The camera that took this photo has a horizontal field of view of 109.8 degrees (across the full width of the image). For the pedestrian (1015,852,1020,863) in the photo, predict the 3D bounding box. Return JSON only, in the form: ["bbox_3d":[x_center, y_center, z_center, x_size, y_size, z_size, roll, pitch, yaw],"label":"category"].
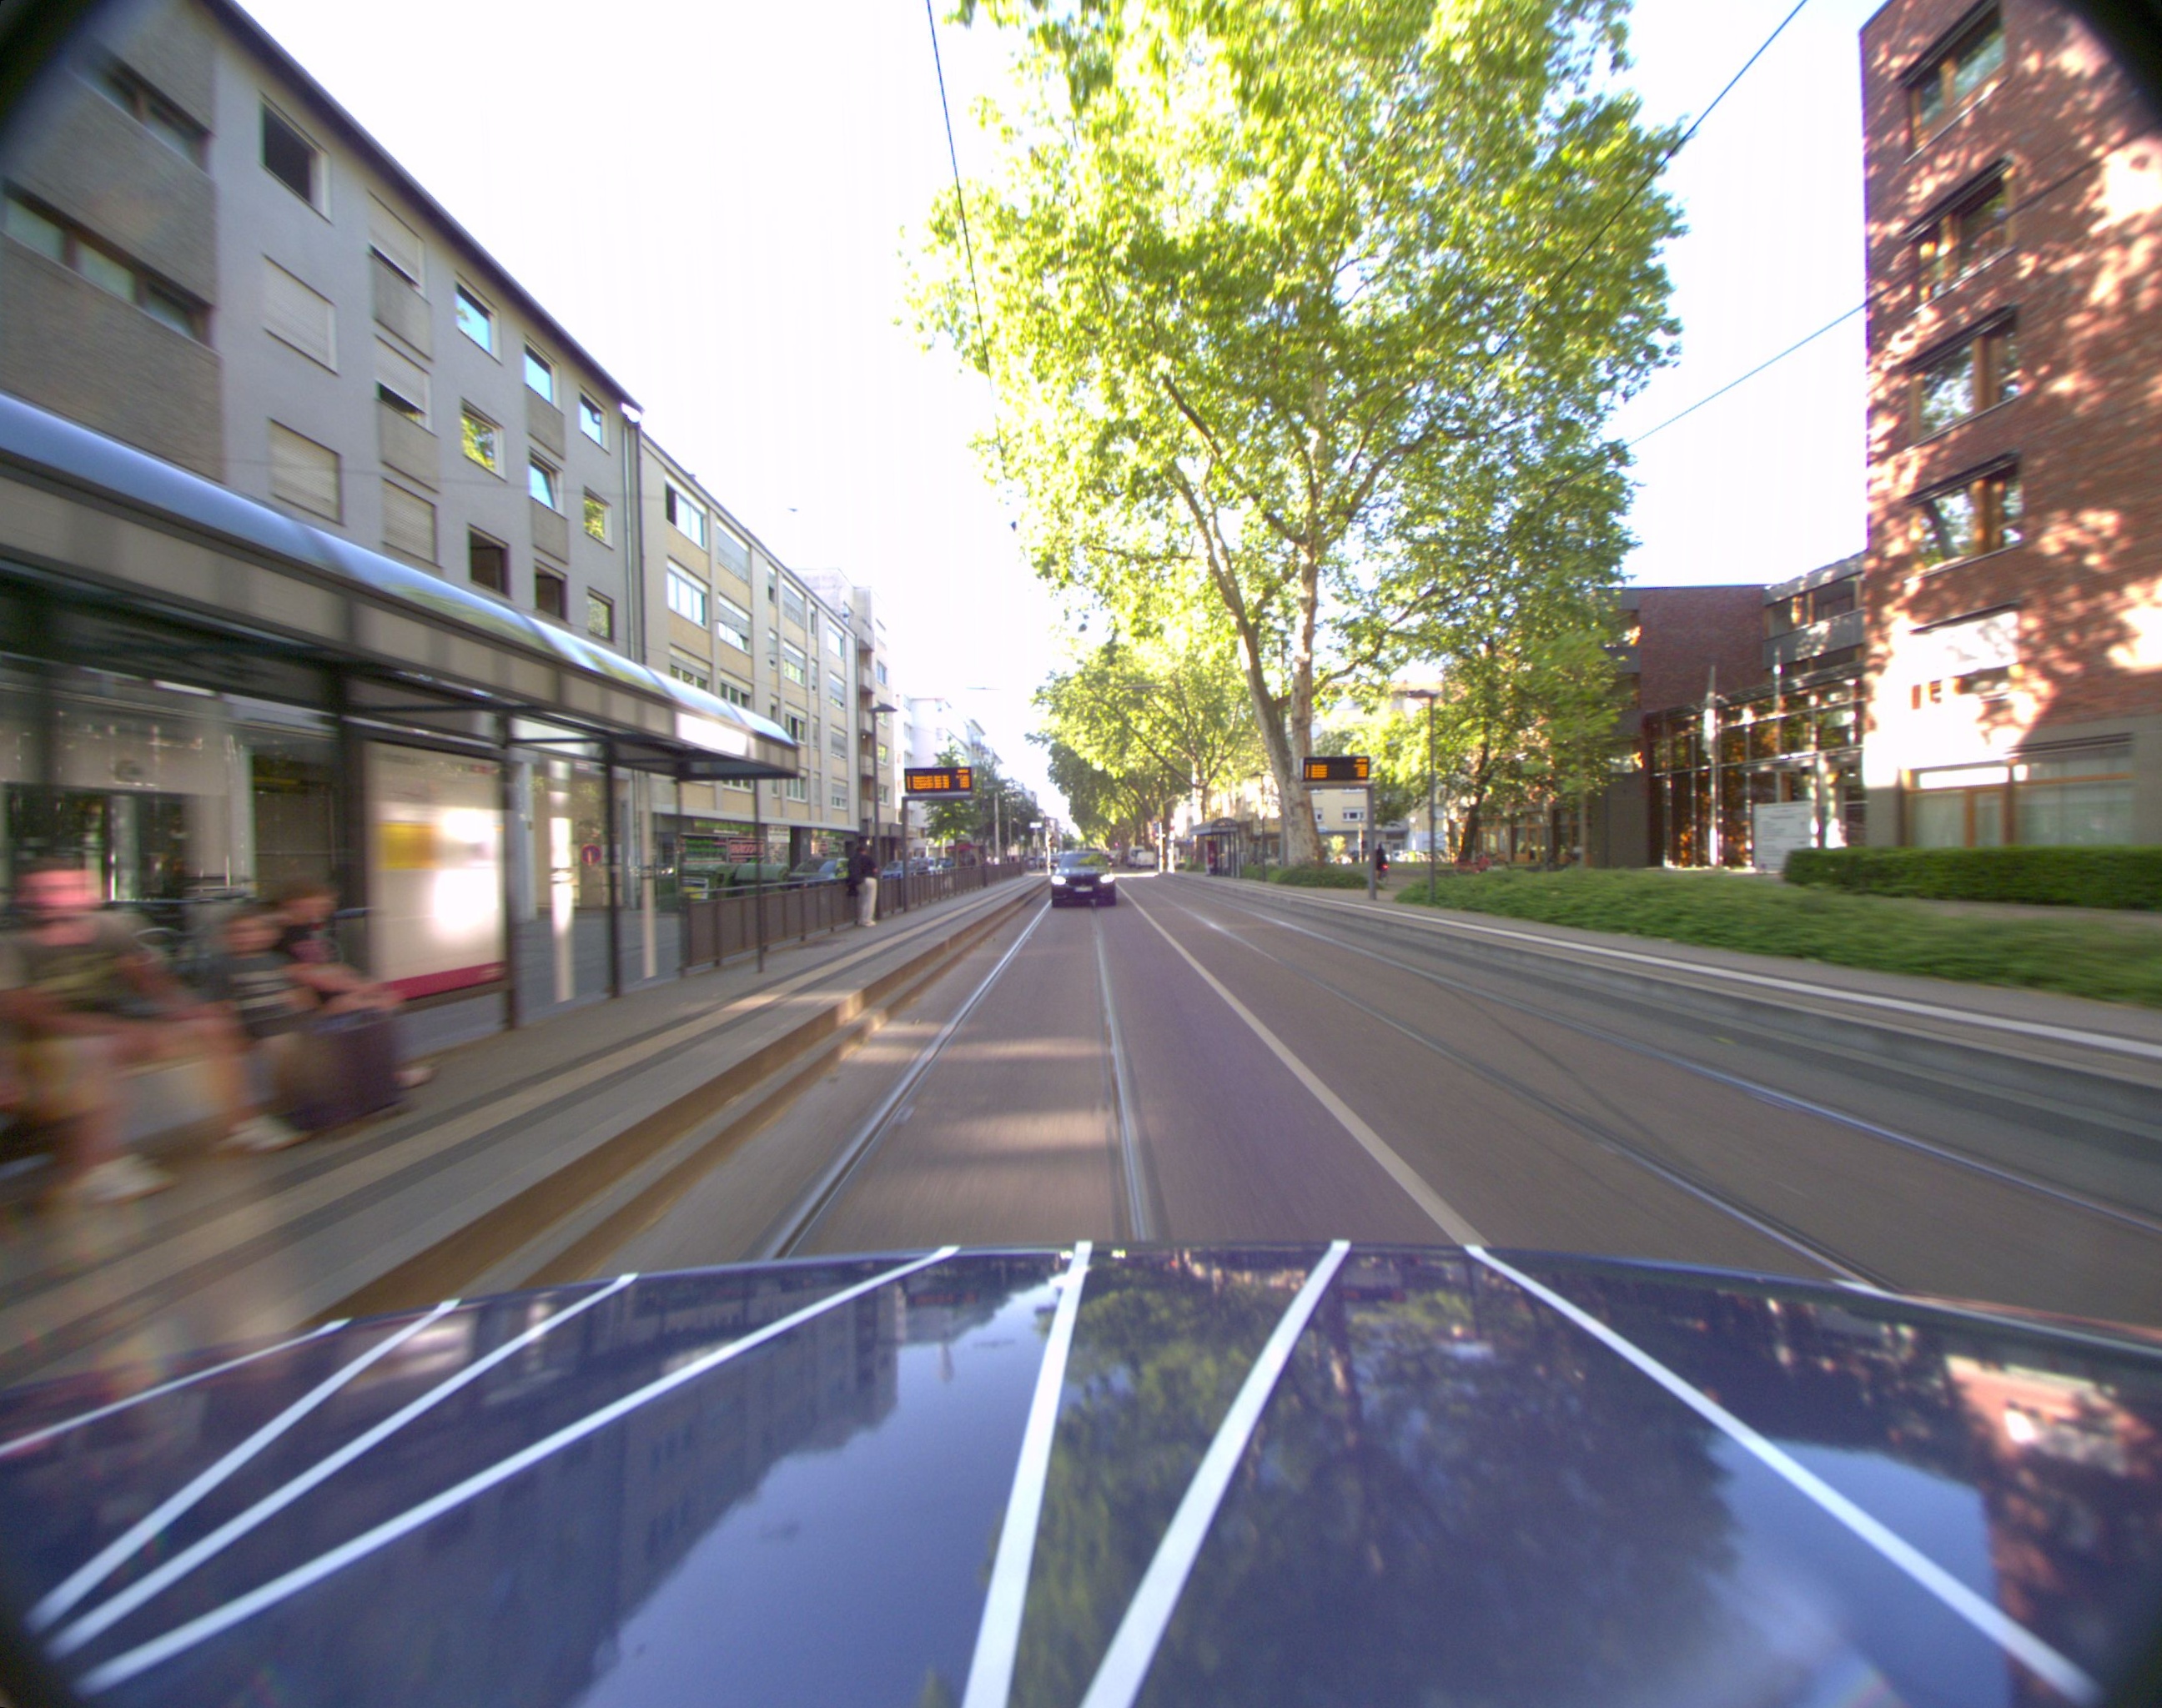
[{"bbox_3d":[-9.693,0.587,115.818,0.685,1.645,0.836,-2,1,-1],"label":"pedestrian"}]

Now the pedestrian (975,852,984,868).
[{"bbox_3d":[-11.126,0.640,83.290,0.752,1.645,0.970,-2,1,-1],"label":"pedestrian"}]

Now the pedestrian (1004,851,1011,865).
[{"bbox_3d":[-8.701,0.479,89.752,0.752,1.645,0.970,-2,1,-1],"label":"pedestrian"}]

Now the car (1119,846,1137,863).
[{"bbox_3d":[6.818,0.058,110.606,2.142,2.274,4.965,-3,1,0],"label":"car"}]

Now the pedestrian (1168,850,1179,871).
[{"bbox_3d":[7.109,0.511,58.299,0.708,1.585,0.561,-2,1,2],"label":"pedestrian"}]

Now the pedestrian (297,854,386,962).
[{"bbox_3d":[-12.844,0.922,13.217,0.772,1.794,0.680,-2,2,7],"label":"pedestrian"}]

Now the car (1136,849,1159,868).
[{"bbox_3d":[7.184,0.433,82.445,2.041,1.881,5.072,-3,1,0],"label":"car"}]

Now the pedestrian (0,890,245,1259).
[{"bbox_3d":[-3.944,0.820,3.010,0.586,1.297,0.526,-3,1,-10],"label":"pedestrian"}]

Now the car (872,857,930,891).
[{"bbox_3d":[-9.048,0.983,38.583,1.899,1.477,4.000,-2,1,1],"label":"car"}]

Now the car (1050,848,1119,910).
[{"bbox_3d":[0.138,0.720,24.742,1.937,1.718,5.072,-3,1,1],"label":"car"}]

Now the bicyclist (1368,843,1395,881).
[{"bbox_3d":[12.163,0.311,30.746,0.735,1.506,0.892,-2,1,3],"label":"bicyclist"}]

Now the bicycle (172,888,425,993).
[{"bbox_3d":[-10.860,1.131,10.773,0.773,1.173,2.782,4,-1,-4],"label":"bicycle"}]

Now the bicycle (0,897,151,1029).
[{"bbox_3d":[-10.771,1.075,7.107,0.773,1.173,2.782,4,-1,-4],"label":"bicycle"}]

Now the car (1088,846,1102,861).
[{"bbox_3d":[2.298,-0.147,123.394,2.142,2.274,4.965,-3,1,0],"label":"car"}]

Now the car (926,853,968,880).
[{"bbox_3d":[-8.943,0.808,51.183,1.998,1.583,4.000,-2,1,1],"label":"car"}]

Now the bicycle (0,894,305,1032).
[{"bbox_3d":[-10.652,1.122,8.679,0.773,1.173,2.782,4,-1,-4],"label":"bicycle"}]

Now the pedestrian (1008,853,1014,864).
[{"bbox_3d":[-10.647,0.626,115.757,0.685,1.645,0.836,-2,1,-1],"label":"pedestrian"}]

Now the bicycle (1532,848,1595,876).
[{"bbox_3d":[20.152,0.345,31.751,0.823,1.088,2.033,-3,1,-37],"label":"bicycle"}]

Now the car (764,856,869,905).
[{"bbox_3d":[-9.523,0.891,27.829,1.958,1.474,4.660,-3,1,3],"label":"car"}]

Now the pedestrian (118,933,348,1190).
[{"bbox_3d":[-3.942,0.933,3.567,0.522,1.049,0.425,-2,1,-10],"label":"pedestrian"}]

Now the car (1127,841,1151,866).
[{"bbox_3d":[7.016,-0.055,92.620,2.429,2.833,5.072,-3,1,0],"label":"car"}]

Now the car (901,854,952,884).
[{"bbox_3d":[-8.885,0.817,44.091,1.998,1.572,4.000,-2,1,1],"label":"car"}]

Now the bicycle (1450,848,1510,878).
[{"bbox_3d":[16.782,0.390,31.993,2.098,1.182,0.882,-2,1,17],"label":"bicycle"}]

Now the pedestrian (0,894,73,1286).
[{"bbox_3d":[-4.041,0.821,2.471,0.721,1.318,0.493,-2,1,-10],"label":"pedestrian"}]

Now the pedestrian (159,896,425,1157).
[{"bbox_3d":[-4.146,0.859,4.056,0.680,1.198,0.648,-2,1,-10],"label":"pedestrian"}]

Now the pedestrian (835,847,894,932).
[{"bbox_3d":[-4.131,0.670,14.554,0.648,1.567,0.855,-2,1,18],"label":"pedestrian"}]

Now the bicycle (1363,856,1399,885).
[{"bbox_3d":[12.178,0.650,30.899,0.748,1.088,2.039,-2,1,3],"label":"bicycle"}]

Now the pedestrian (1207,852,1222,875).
[{"bbox_3d":[7.107,0.493,40.531,0.708,1.197,0.473,-2,1,2],"label":"pedestrian"}]

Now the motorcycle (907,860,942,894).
[{"bbox_3d":[-7.296,1.060,35.544,1.054,1.446,2.208,-2,1,1],"label":"motorcycle"}]

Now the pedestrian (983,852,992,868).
[{"bbox_3d":[-9.883,0.620,80.229,0.752,1.645,0.970,-2,1,-1],"label":"pedestrian"}]

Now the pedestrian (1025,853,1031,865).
[{"bbox_3d":[-7.007,0.664,100.724,0.752,1.645,0.970,-2,1,-1],"label":"pedestrian"}]
